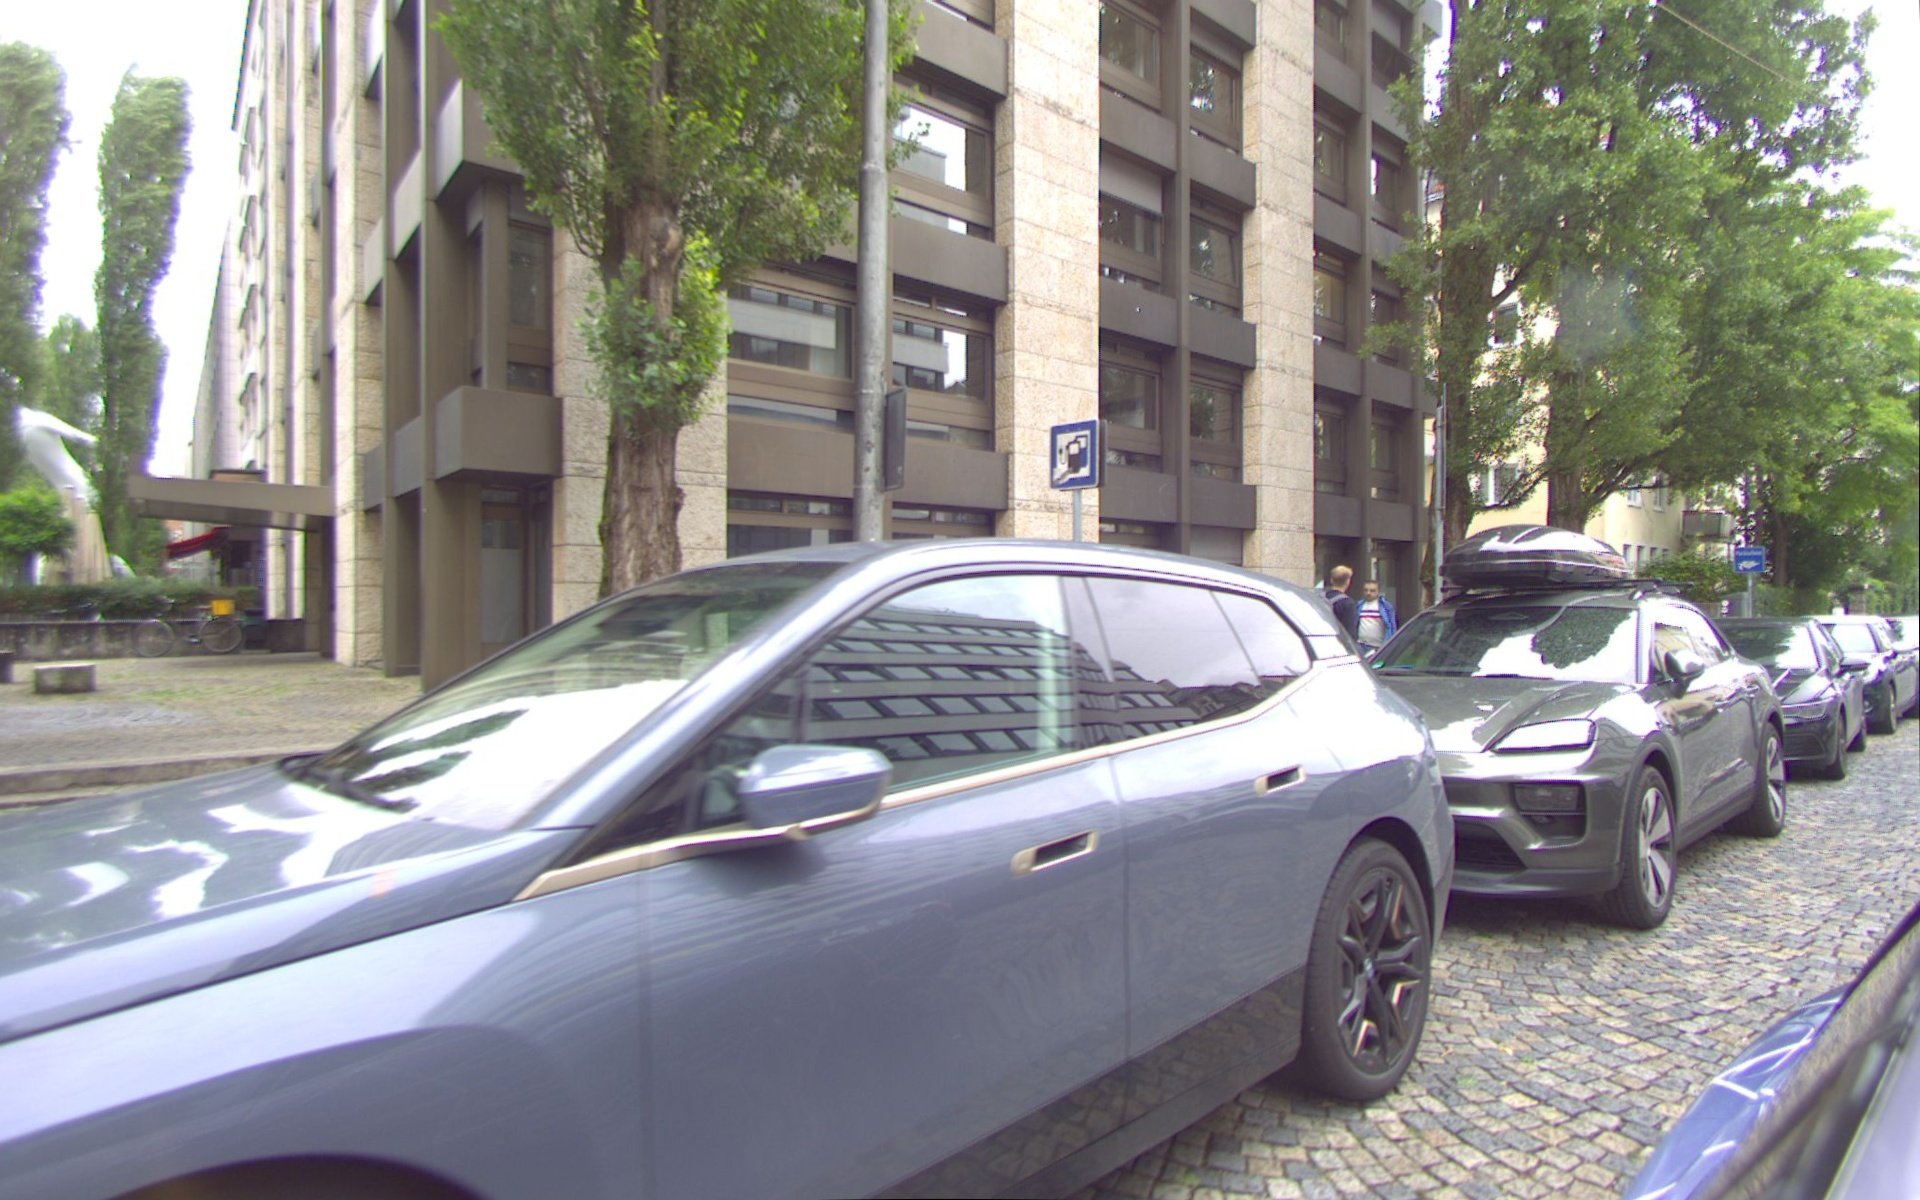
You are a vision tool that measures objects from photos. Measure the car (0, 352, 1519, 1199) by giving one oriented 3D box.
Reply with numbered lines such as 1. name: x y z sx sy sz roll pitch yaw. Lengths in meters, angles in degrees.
1. car: -0.415 0.618 2.807 4.592 1.722 2.016 0 -1 -41

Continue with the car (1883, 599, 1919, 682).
1. car: 19.483 0.737 19.735 3.808 1.518 1.864 0 -1 -43

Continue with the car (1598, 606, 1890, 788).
1. car: 7.982 0.786 10.154 4.135 1.407 1.721 0 1 -44

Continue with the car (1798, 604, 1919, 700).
1. car: 15.412 0.788 16.647 3.808 1.405 1.995 0 -1 -43

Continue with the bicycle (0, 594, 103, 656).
1. bicycle: -17.903 0.464 19.416 2.206 1.170 0.647 0 0 -40

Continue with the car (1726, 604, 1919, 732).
1. car: 11.605 0.809 13.392 3.500 1.449 1.603 0 -2 -41

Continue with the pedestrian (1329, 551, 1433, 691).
1. pedestrian: 5.446 0.257 13.130 0.893 1.736 0.871 0 0 -20

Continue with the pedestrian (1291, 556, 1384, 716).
1. pedestrian: 3.850 0.344 10.328 0.697 1.557 0.644 0 0 -43

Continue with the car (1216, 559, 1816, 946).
1. car: 3.696 0.632 6.377 4.267 1.603 1.996 0 0 -41

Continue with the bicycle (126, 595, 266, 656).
1. bicycle: -15.292 0.479 20.302 2.206 1.170 0.647 0 0 -40
